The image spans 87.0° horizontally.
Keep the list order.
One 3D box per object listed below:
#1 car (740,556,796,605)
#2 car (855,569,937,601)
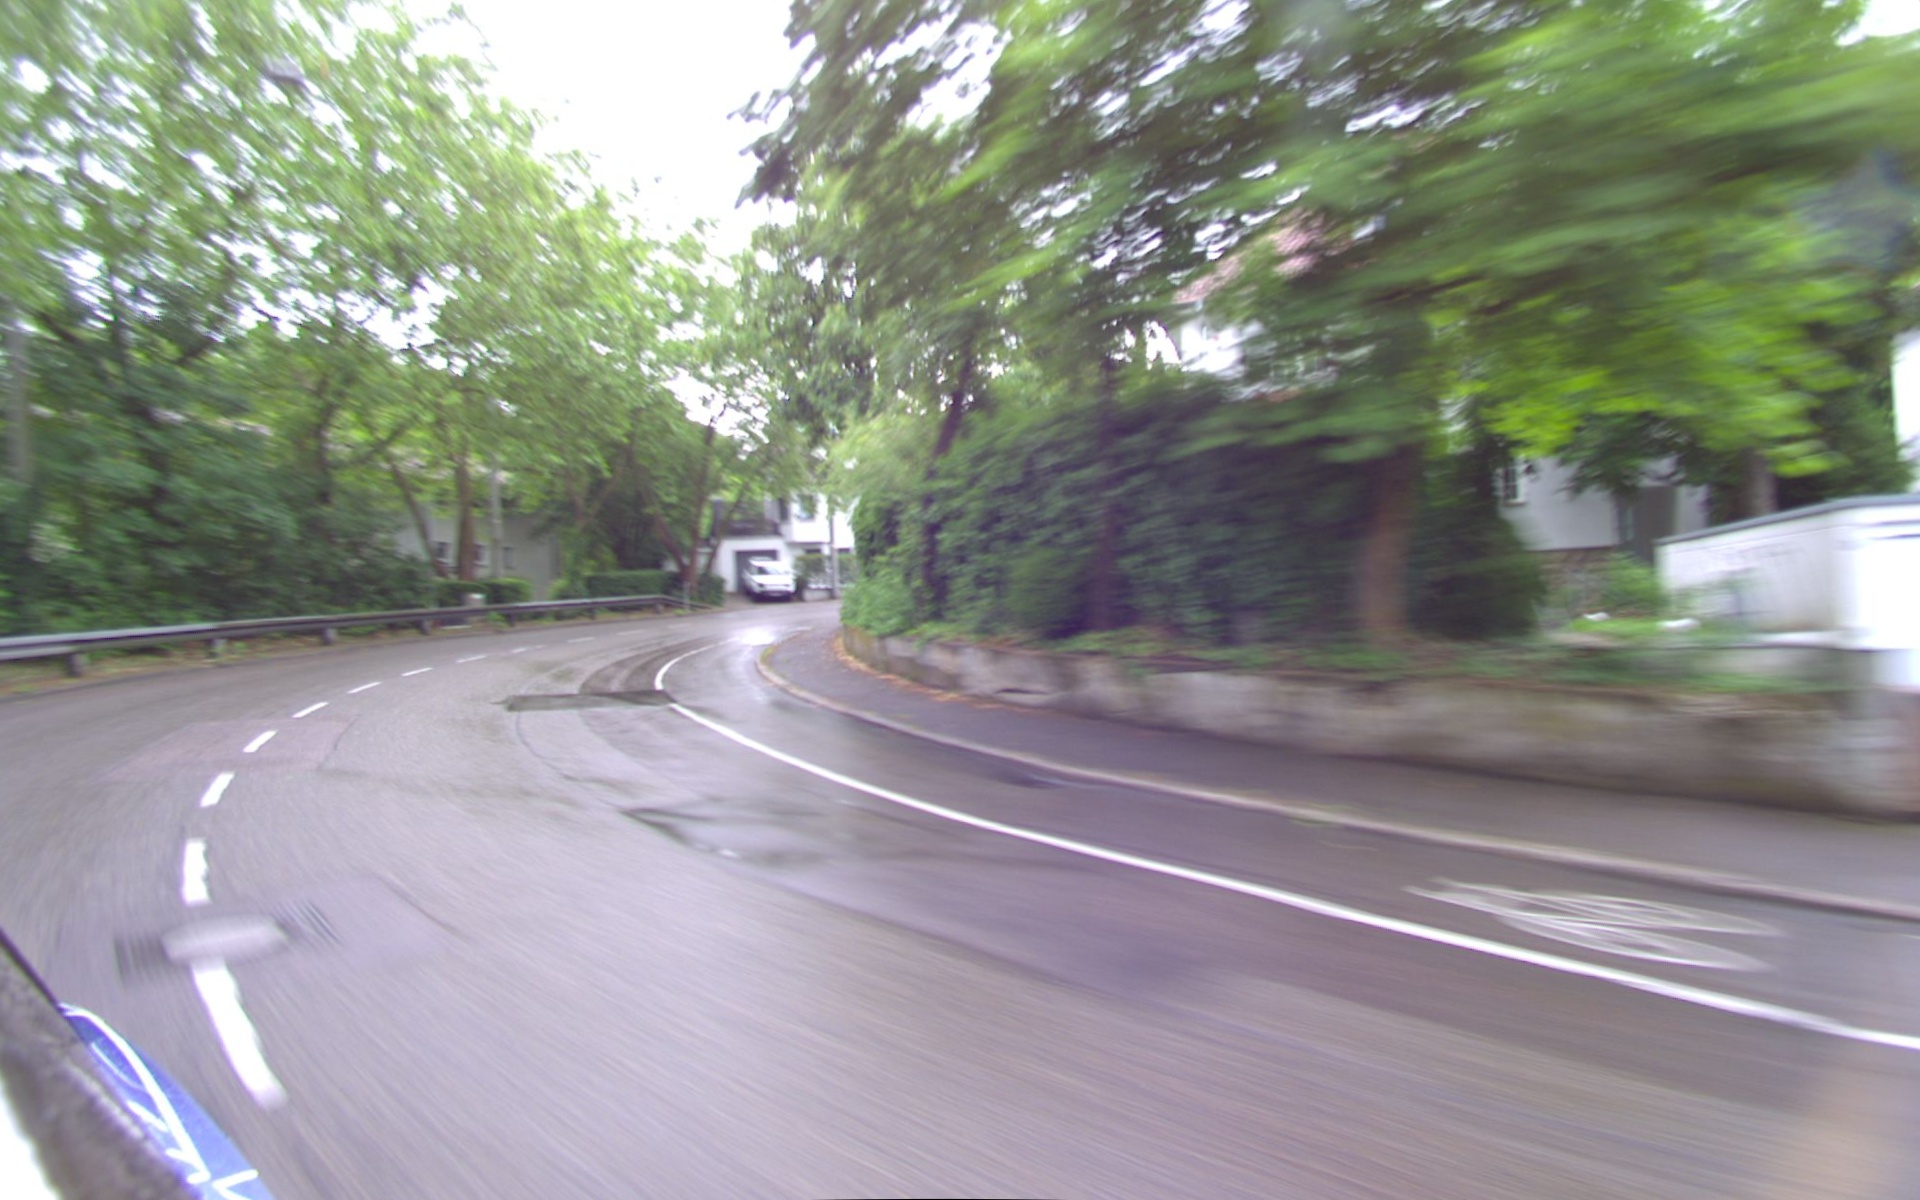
[{"bbox_3d":[-9.811,-1.032,51.579,1.924,1.938,4.284,-3,8,-22],"label":"car"},{"bbox_3d":[-3.231,-0.788,51.360,3.938,1.430,1.637,-4,3,-41],"label":"car"}]
